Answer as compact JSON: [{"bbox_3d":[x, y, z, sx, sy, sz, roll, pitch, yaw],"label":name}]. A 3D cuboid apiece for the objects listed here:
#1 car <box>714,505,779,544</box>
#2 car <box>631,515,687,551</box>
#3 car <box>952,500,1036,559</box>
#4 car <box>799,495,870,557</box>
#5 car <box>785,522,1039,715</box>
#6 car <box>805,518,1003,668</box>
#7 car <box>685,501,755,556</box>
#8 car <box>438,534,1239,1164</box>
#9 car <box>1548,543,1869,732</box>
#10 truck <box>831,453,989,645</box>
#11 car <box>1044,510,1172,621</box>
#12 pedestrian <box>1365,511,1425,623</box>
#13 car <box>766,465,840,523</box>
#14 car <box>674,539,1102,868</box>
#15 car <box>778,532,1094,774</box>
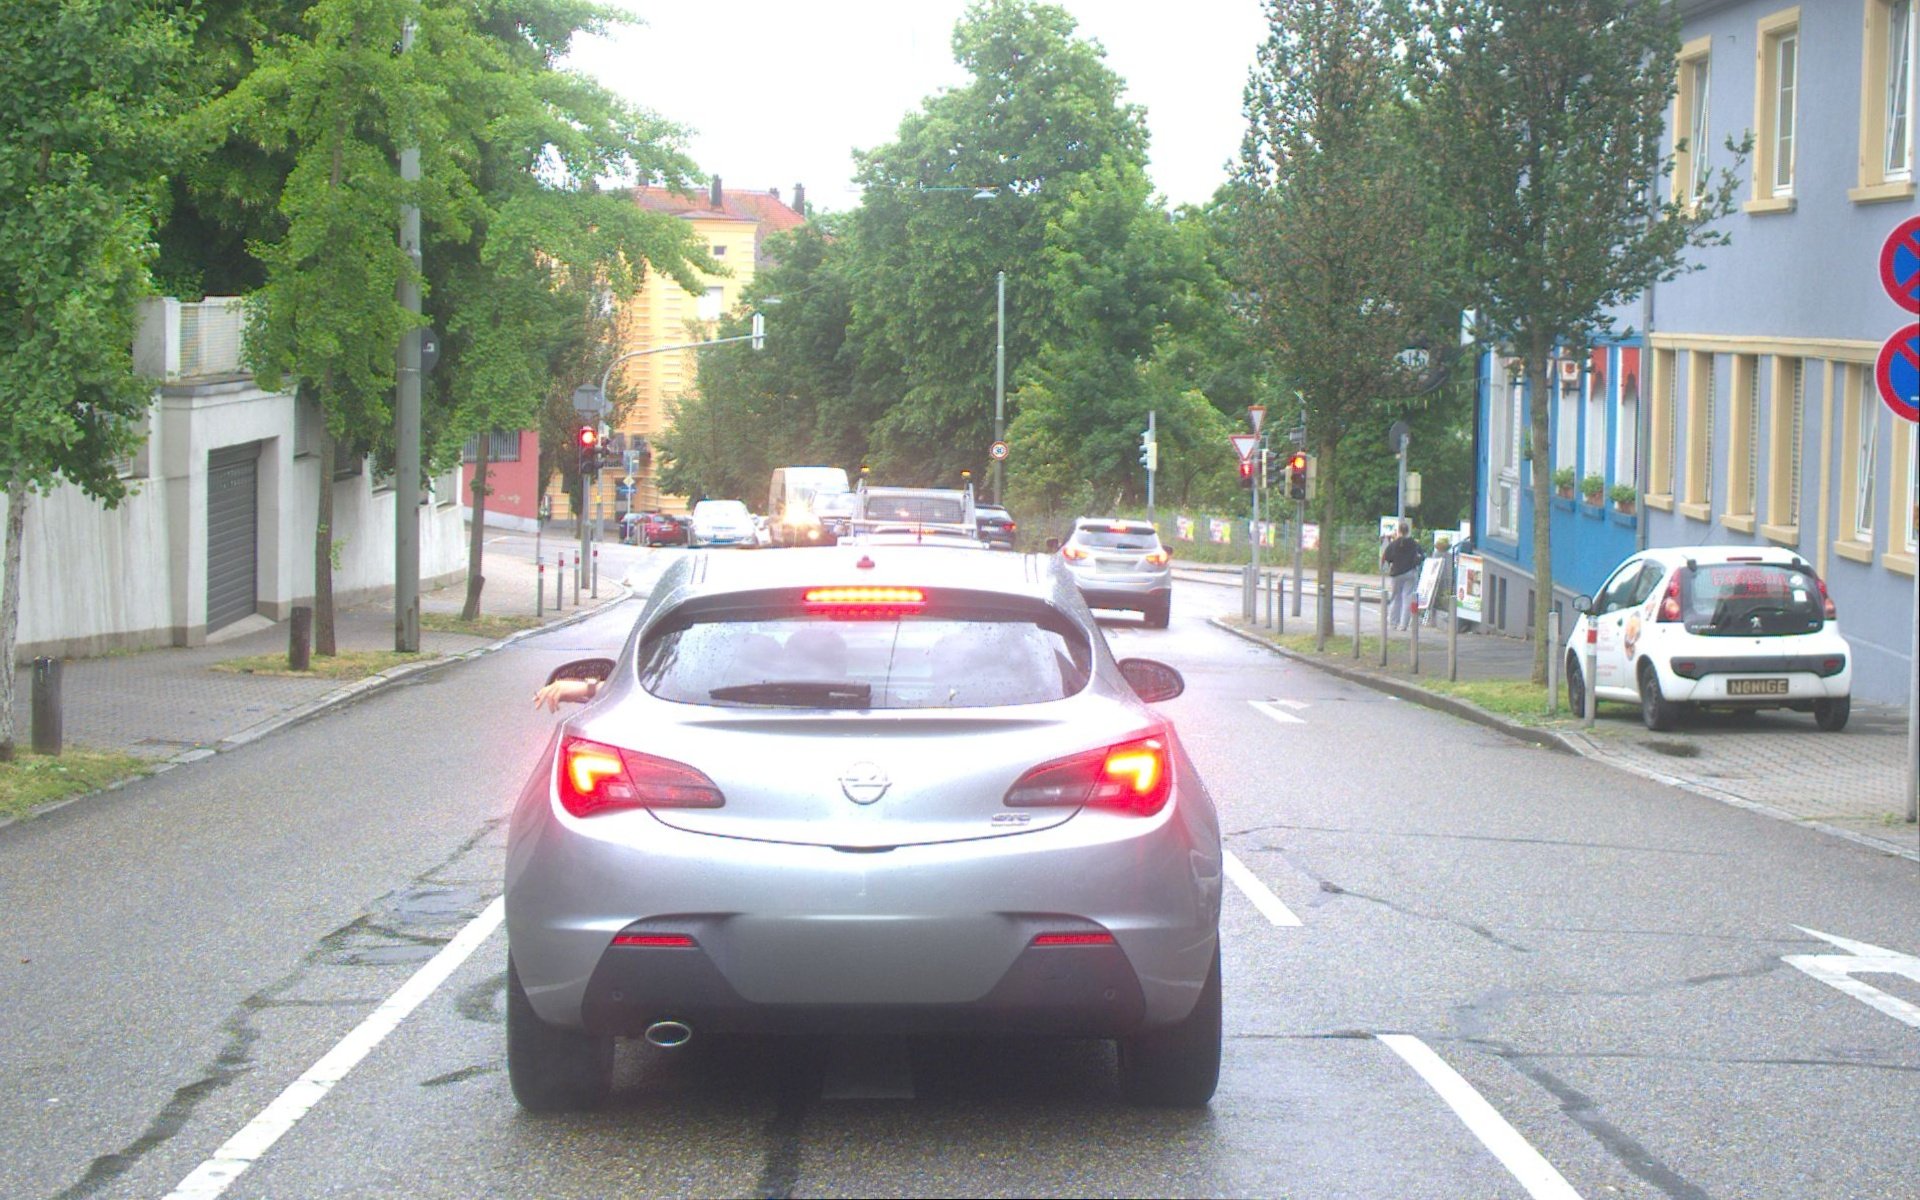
[{"bbox_3d":[-8.665,-3.051,139.322,1.722,1.538,3.881,0,1,-18],"label":"car"},{"bbox_3d":[-13.866,-3.090,158.093,1.722,1.632,3.881,0,1,-18],"label":"car"},{"bbox_3d":[0.944,-1.981,96.900,1.722,1.632,3.881,0,1,-9],"label":"car"},{"bbox_3d":[-3.360,-1.987,92.592,1.870,1.632,3.880,0,1,-2],"label":"car"},{"bbox_3d":[-0.443,0.098,29.432,1.962,1.443,4.306,2,1,-2],"label":"car"},{"bbox_3d":[-0.637,-0.119,37.091,1.962,1.443,4.306,2,1,-2],"label":"car"},{"bbox_3d":[-6.454,-1.927,92.574,1.722,1.455,3.880,0,1,-2],"label":"car"},{"bbox_3d":[-0.361,0.547,9.931,1.837,1.429,3.880,1,1,-2],"label":"car"},{"bbox_3d":[6.158,0.262,28.691,1.722,1.443,3.880,0,1,-2],"label":"car"},{"bbox_3d":[-0.723,-0.733,47.083,1.962,2.420,4.936,2,1,-2],"label":"truck"},{"bbox_3d":[2.334,-0.577,55.117,1.722,1.708,3.880,0,1,-2],"label":"car"},{"bbox_3d":[6.834,-0.530,54.024,0.783,1.723,0.651,2,1,0],"label":"pedestrian"},{"bbox_3d":[-4.593,-3.075,100.213,1.722,1.632,3.881,0,1,-9],"label":"car"},{"bbox_3d":[-0.402,0.450,18.333,1.962,1.443,4.306,2,1,-2],"label":"car"},{"bbox_3d":[-0.214,0.298,24.054,1.962,1.443,4.306,2,1,-2],"label":"car"}]
